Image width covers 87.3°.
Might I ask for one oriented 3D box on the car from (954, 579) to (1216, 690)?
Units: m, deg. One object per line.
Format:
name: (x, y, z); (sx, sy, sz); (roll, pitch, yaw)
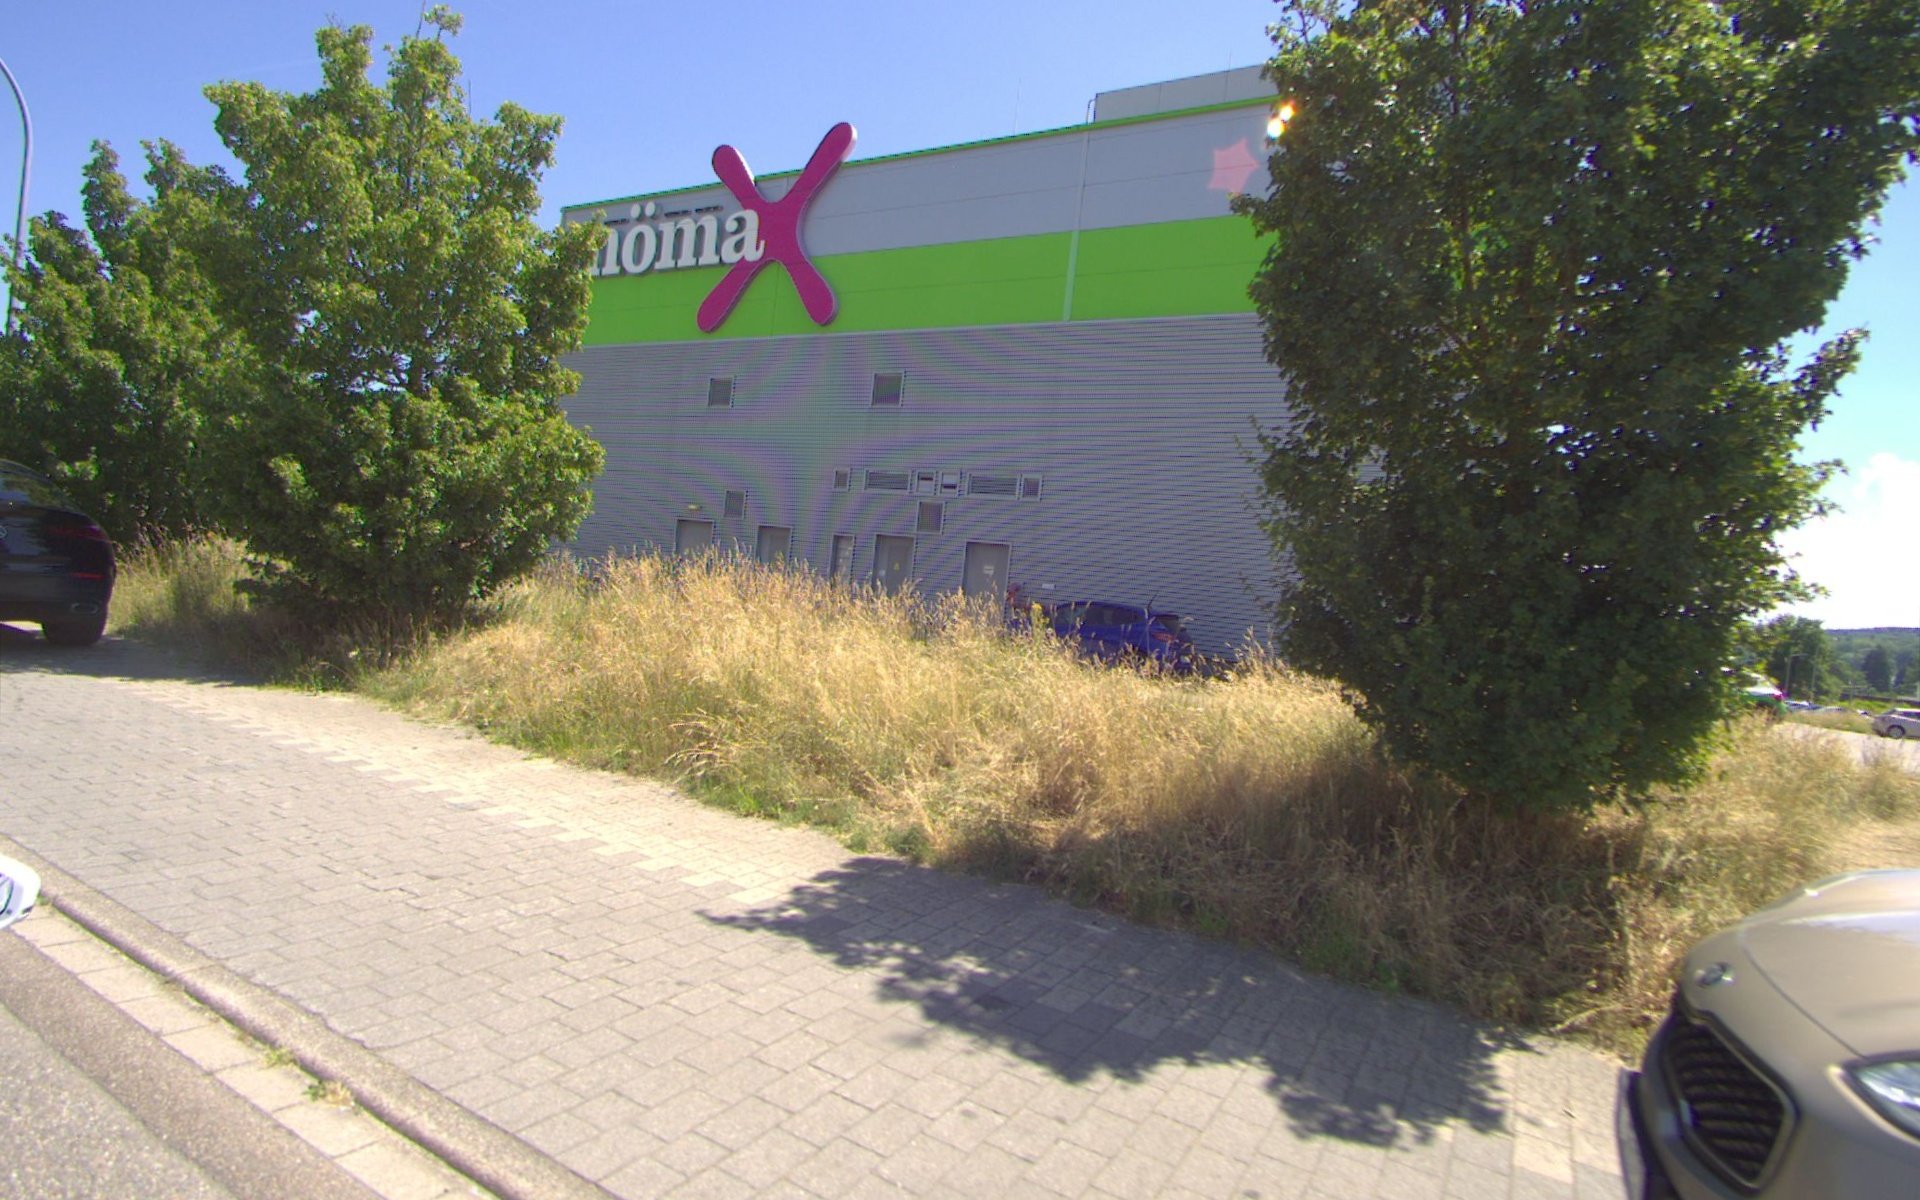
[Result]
car: (2.316, 0.609, 18.877); (4.327, 1.518, 1.995); (6, 1, 30)

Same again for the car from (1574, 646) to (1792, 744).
car: (18.970, 2.438, 26.697); (4.326, 1.809, 1.995); (8, 2, 30)

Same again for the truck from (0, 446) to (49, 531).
truck: (-36.716, -4.320, 35.797); (2.374, 2.950, 5.829); (6, 0, 30)

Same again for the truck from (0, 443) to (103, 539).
truck: (-33.022, -3.872, 33.779); (2.266, 2.908, 5.912); (6, 0, 27)

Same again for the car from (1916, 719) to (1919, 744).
car: (36.315, 4.642, 34.693); (4.326, 1.602, 1.995); (8, 2, 30)

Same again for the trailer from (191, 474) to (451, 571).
trailer: (-36.468, -4.251, 58.363); (2.757, 3.922, 12.635); (5, -1, 31)

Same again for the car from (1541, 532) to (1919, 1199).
car: (3.187, 0.984, 0.975); (4.383, 1.657, 1.805); (7, 2, 30)

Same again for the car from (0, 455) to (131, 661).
car: (-9.988, -0.571, 9.471); (4.469, 1.723, 1.950); (7, 2, 31)
